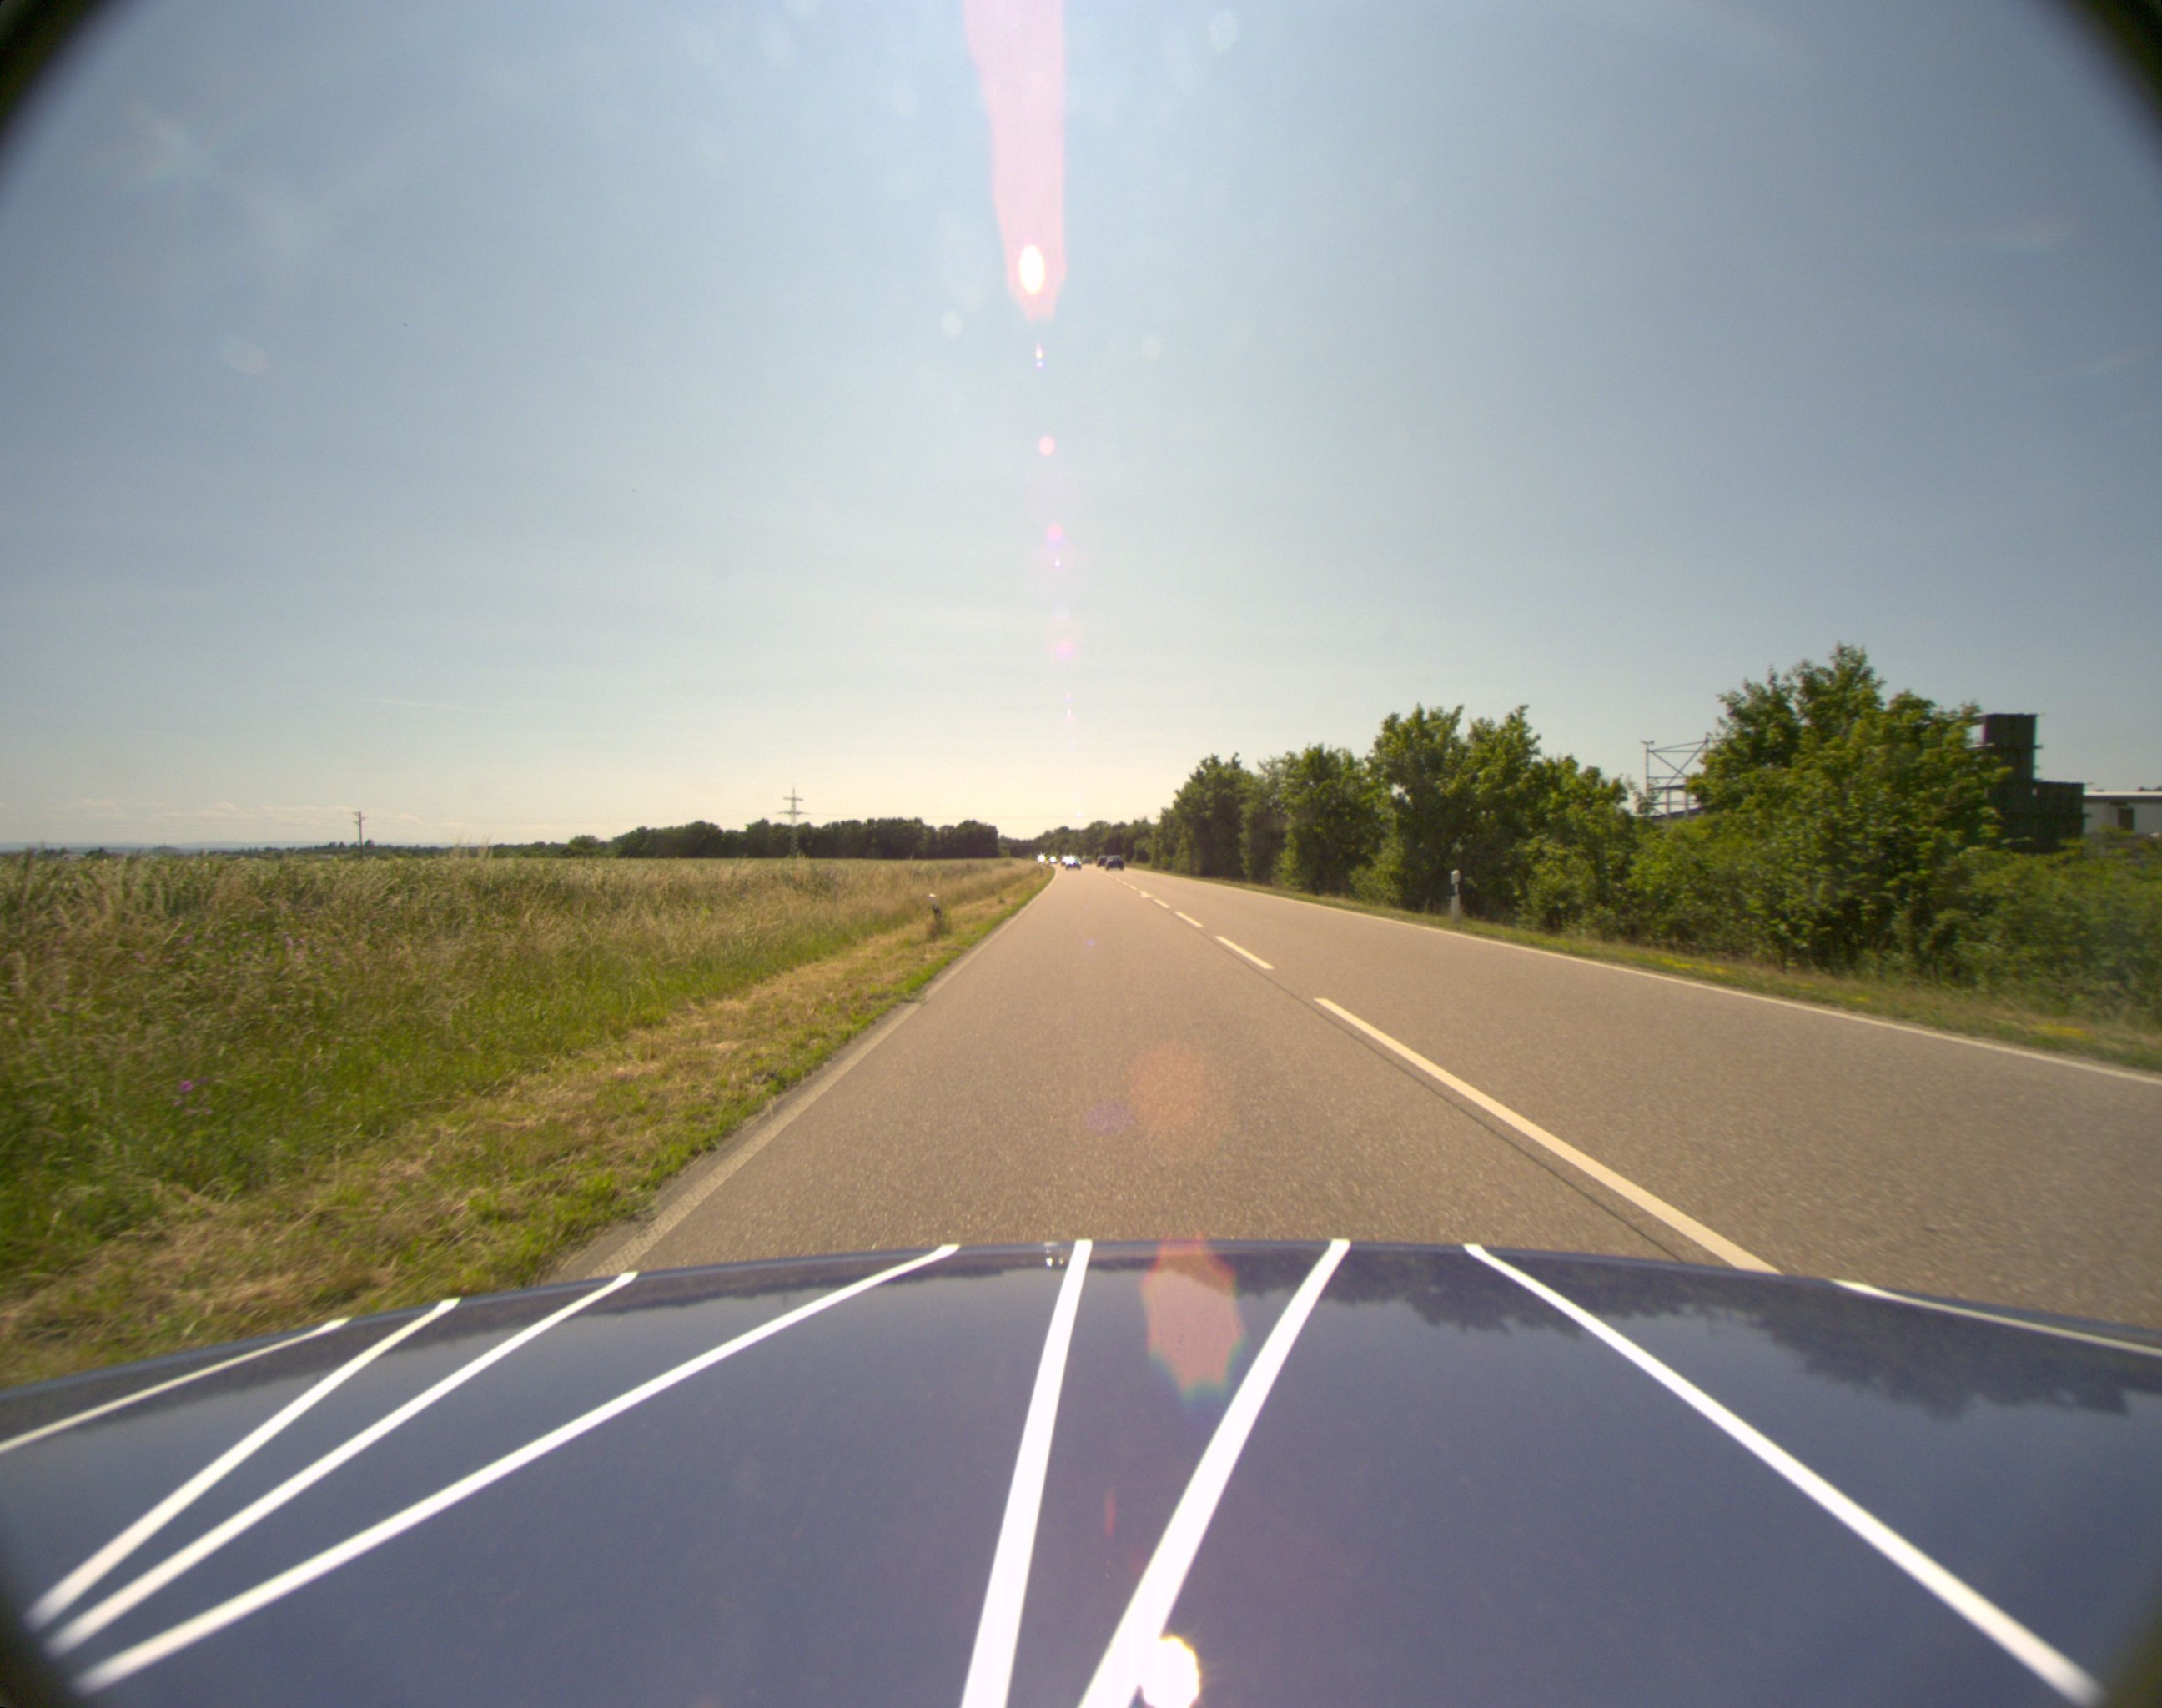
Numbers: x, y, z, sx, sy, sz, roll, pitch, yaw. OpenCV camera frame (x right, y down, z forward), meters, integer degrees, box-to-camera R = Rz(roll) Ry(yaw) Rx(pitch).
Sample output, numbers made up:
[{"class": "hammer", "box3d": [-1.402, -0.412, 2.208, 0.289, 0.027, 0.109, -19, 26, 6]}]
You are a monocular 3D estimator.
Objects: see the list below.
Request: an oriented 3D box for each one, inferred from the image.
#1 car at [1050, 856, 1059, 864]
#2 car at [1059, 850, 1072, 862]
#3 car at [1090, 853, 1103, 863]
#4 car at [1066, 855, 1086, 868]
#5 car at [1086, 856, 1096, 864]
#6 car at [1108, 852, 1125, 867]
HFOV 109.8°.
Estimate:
[{"class": "car", "box3d": [-5.704, 1.331, 166.051, 1.554, 1.659, 3.997, -2, 1, -7]}, {"class": "car", "box3d": [-2.622, 0.314, 124.619, 1.999, 2.002, 3.999, -1, 0, -2]}, {"class": "car", "box3d": [2.178, 0.562, 106.532, 1.602, 1.433, 3.999, -1, 0, -1]}, {"class": "car", "box3d": [-0.622, 0.836, 88.186, 1.694, 1.431, 3.707, -2, 0, -10]}, {"class": "car", "box3d": [1.779, 1.035, 137.304, 1.712, 1.373, 3.818, -2, 0, -1]}, {"class": "car", "box3d": [3.600, 0.567, 77.976, 1.657, 1.398, 4.000, -2, 0, 1]}]
